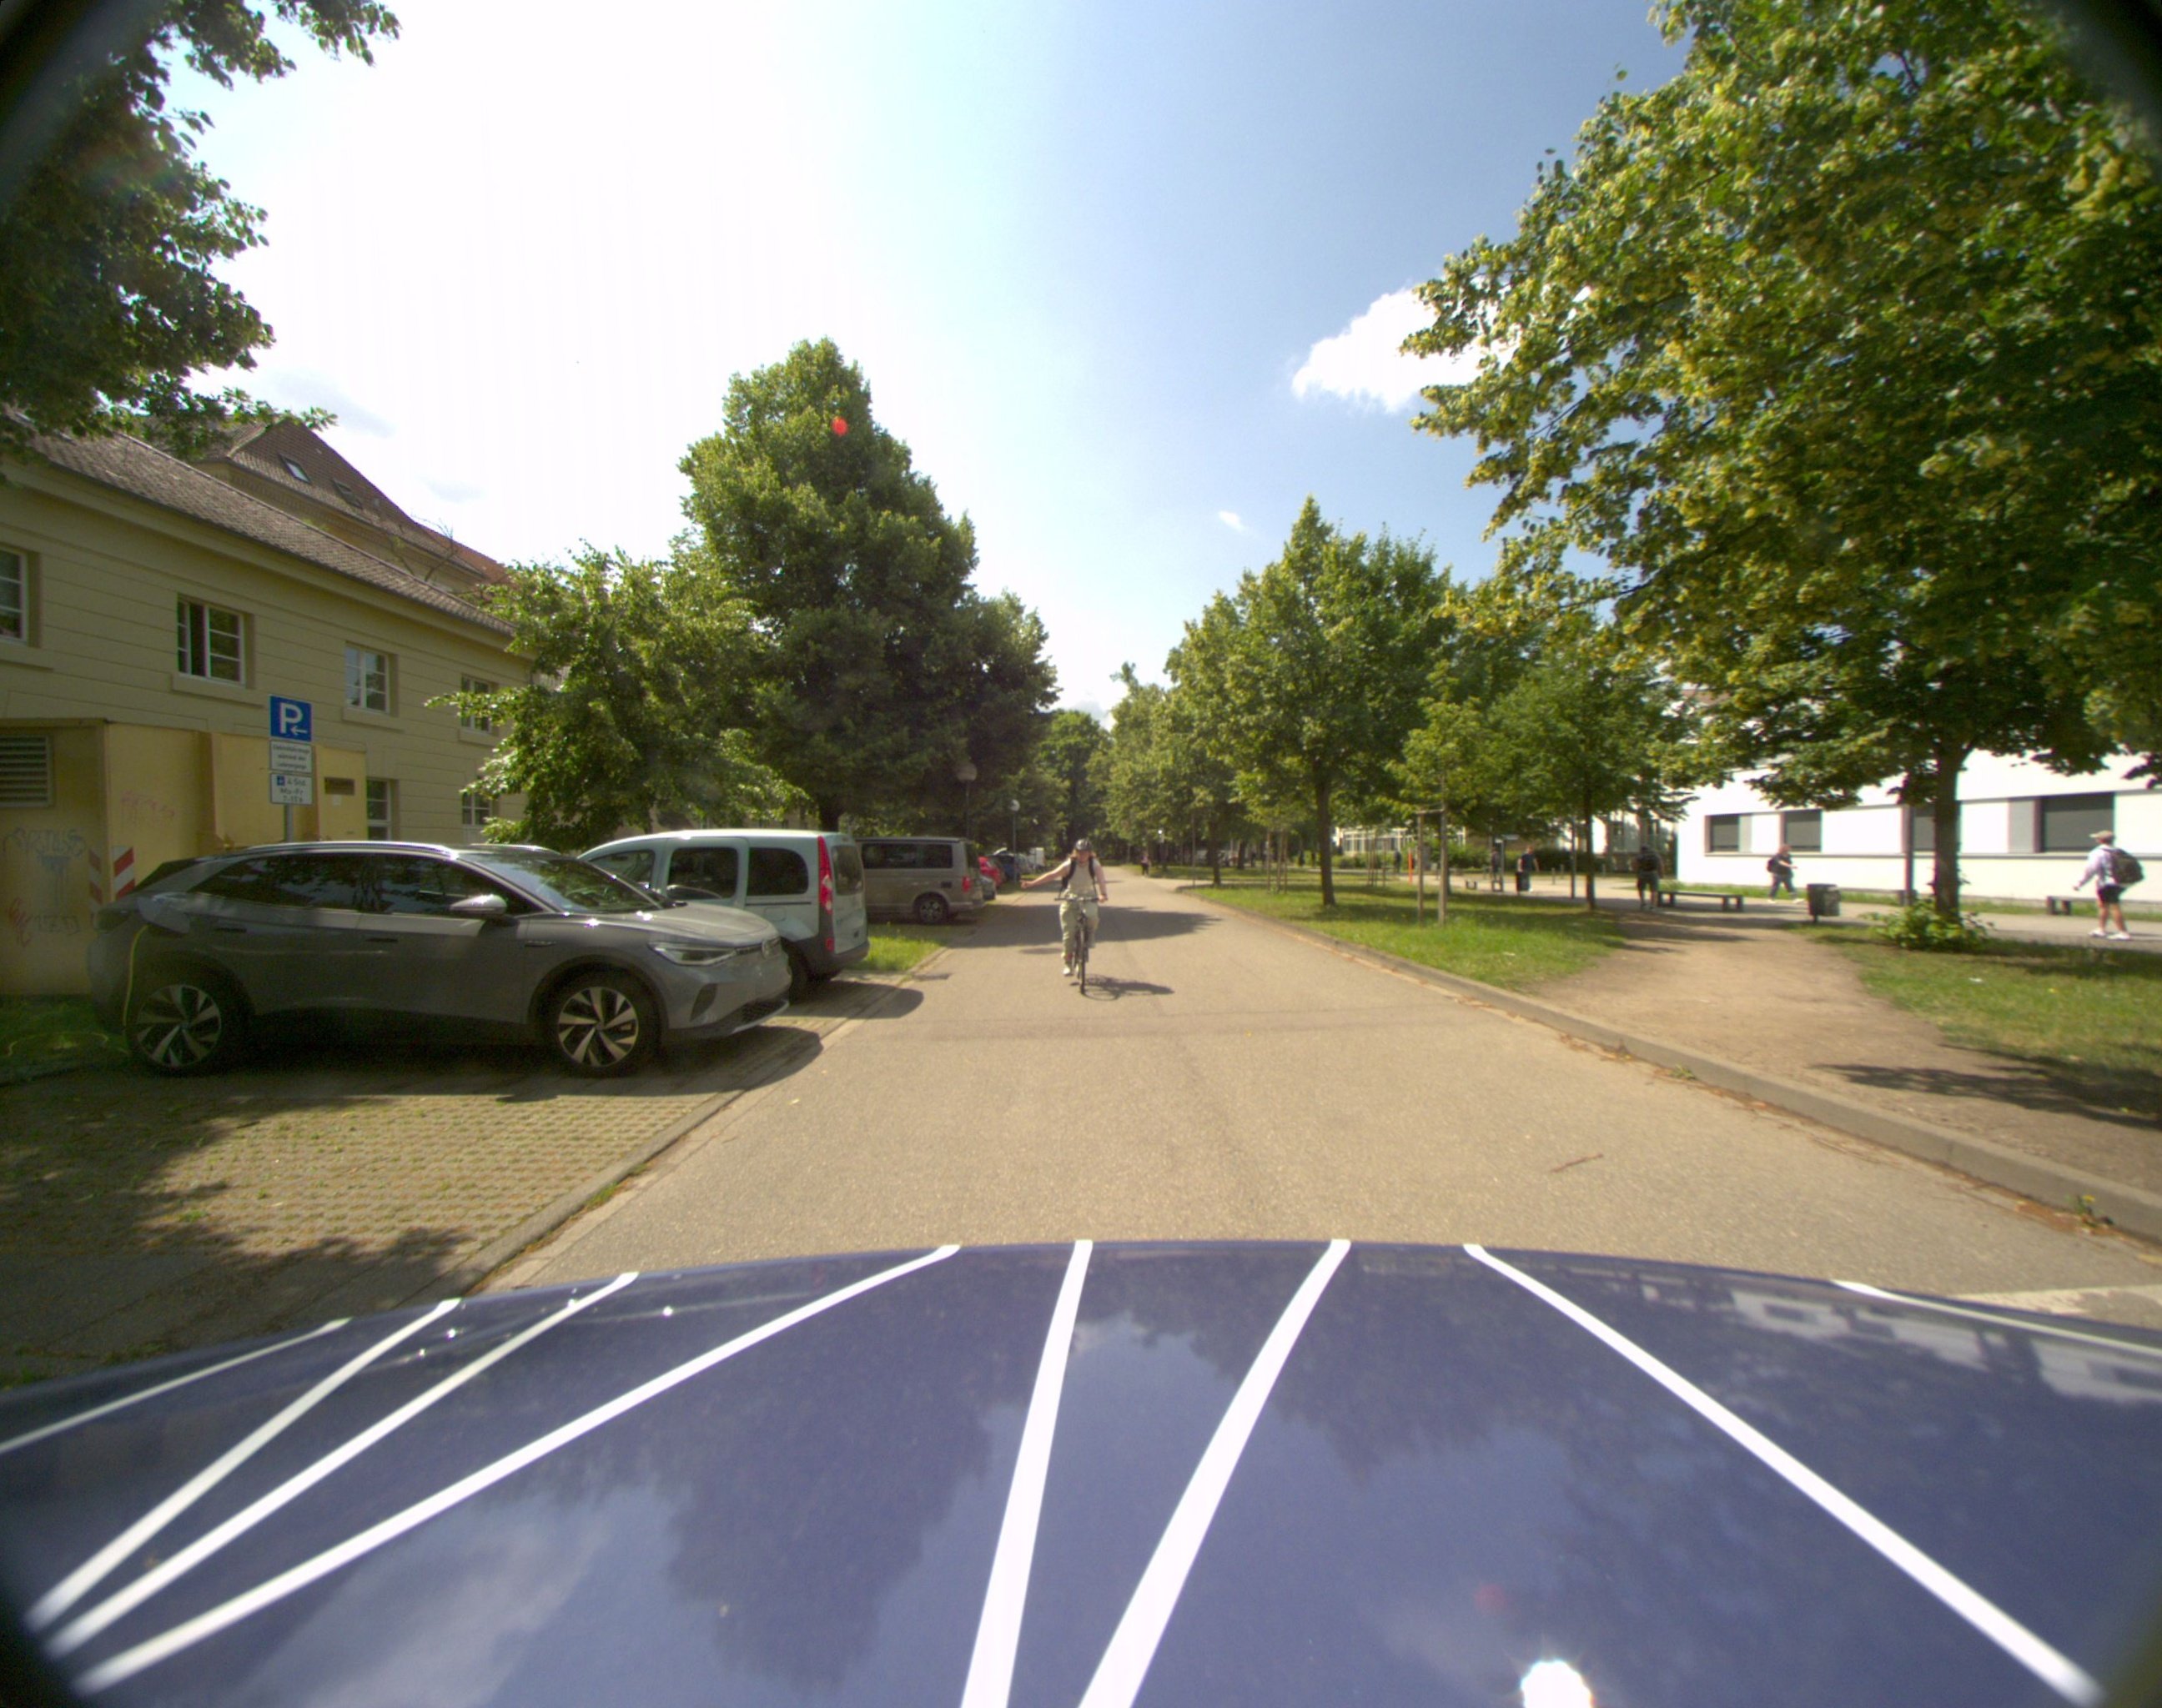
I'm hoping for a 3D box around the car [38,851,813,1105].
[{"bbox_3d":[-4.606,0.815,5.924,4.359,1.642,1.895,0,0,-1],"label":"car"}]

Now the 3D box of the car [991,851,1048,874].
[{"bbox_3d":[-4.256,0.584,52.979,3.852,1.566,1.702,0,1,1],"label":"car"}]

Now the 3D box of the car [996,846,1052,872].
[{"bbox_3d":[-4.151,0.379,55.742,3.852,1.869,1.781,0,1,1],"label":"car"}]

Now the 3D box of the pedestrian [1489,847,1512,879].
[{"bbox_3d":[21.989,0.465,39.838,0.848,1.639,0.804,0,1,11],"label":"pedestrian"}]

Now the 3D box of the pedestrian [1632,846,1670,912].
[{"bbox_3d":[14.715,0.631,19.621,0.725,1.647,0.717,1,1,41],"label":"pedestrian"}]

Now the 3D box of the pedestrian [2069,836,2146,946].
[{"bbox_3d":[17.083,0.587,12.665,0.832,1.760,0.709,-1,1,-39],"label":"pedestrian"}]

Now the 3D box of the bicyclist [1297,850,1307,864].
[{"bbox_3d":[20.970,0.273,72.126,0.778,1.325,0.828,0,1,0],"label":"bicyclist"}]

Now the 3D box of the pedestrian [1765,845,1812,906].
[{"bbox_3d":[19.837,0.592,21.305,0.628,1.678,0.725,0,1,0],"label":"pedestrian"}]

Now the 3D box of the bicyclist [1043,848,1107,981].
[{"bbox_3d":[-0.065,0.680,9.068,0.675,1.470,1.062,-2,1,0],"label":"bicyclist"}]

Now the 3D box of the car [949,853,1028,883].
[{"bbox_3d":[-4.783,0.719,39.649,3.852,1.479,1.724,0,1,1],"label":"car"}]

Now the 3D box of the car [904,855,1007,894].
[{"bbox_3d":[-5.081,0.824,31.075,3.852,1.525,1.786,0,1,1],"label":"car"}]

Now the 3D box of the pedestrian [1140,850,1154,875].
[{"bbox_3d":[3.972,0.499,46.034,0.796,1.479,0.635,0,1,0],"label":"pedestrian"}]

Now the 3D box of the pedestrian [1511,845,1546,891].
[{"bbox_3d":[17.440,0.533,29.630,0.793,1.765,1.095,0,1,6],"label":"pedestrian"}]

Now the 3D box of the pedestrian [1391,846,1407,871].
[{"bbox_3d":[22.136,0.329,52.901,0.796,1.712,0.635,0,1,0],"label":"pedestrian"}]

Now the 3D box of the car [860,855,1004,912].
[{"bbox_3d":[-4.325,0.848,22.482,3.852,1.585,1.786,0,1,1],"label":"car"}]

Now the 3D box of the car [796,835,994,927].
[{"bbox_3d":[-4.197,0.597,17.627,4.049,2.002,2.000,0,1,1],"label":"car"}]

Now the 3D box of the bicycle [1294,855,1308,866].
[{"bbox_3d":[20.965,0.624,72.444,0.778,1.026,2.149,0,1,0],"label":"bicycle"}]

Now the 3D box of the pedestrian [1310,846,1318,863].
[{"bbox_3d":[22.230,0.083,72.505,0.596,1.619,0.763,0,1,0],"label":"pedestrian"}]

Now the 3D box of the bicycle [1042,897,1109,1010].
[{"bbox_3d":[-0.055,1.108,9.102,0.675,1.066,2.136,-2,0,0],"label":"bicycle"}]

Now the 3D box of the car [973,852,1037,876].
[{"bbox_3d":[-4.861,0.651,48.893,3.852,1.513,1.724,0,1,1],"label":"car"}]

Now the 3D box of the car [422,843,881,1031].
[{"bbox_3d":[-4.462,0.808,8.397,3.997,1.827,1.824,0,1,-1],"label":"car"}]
